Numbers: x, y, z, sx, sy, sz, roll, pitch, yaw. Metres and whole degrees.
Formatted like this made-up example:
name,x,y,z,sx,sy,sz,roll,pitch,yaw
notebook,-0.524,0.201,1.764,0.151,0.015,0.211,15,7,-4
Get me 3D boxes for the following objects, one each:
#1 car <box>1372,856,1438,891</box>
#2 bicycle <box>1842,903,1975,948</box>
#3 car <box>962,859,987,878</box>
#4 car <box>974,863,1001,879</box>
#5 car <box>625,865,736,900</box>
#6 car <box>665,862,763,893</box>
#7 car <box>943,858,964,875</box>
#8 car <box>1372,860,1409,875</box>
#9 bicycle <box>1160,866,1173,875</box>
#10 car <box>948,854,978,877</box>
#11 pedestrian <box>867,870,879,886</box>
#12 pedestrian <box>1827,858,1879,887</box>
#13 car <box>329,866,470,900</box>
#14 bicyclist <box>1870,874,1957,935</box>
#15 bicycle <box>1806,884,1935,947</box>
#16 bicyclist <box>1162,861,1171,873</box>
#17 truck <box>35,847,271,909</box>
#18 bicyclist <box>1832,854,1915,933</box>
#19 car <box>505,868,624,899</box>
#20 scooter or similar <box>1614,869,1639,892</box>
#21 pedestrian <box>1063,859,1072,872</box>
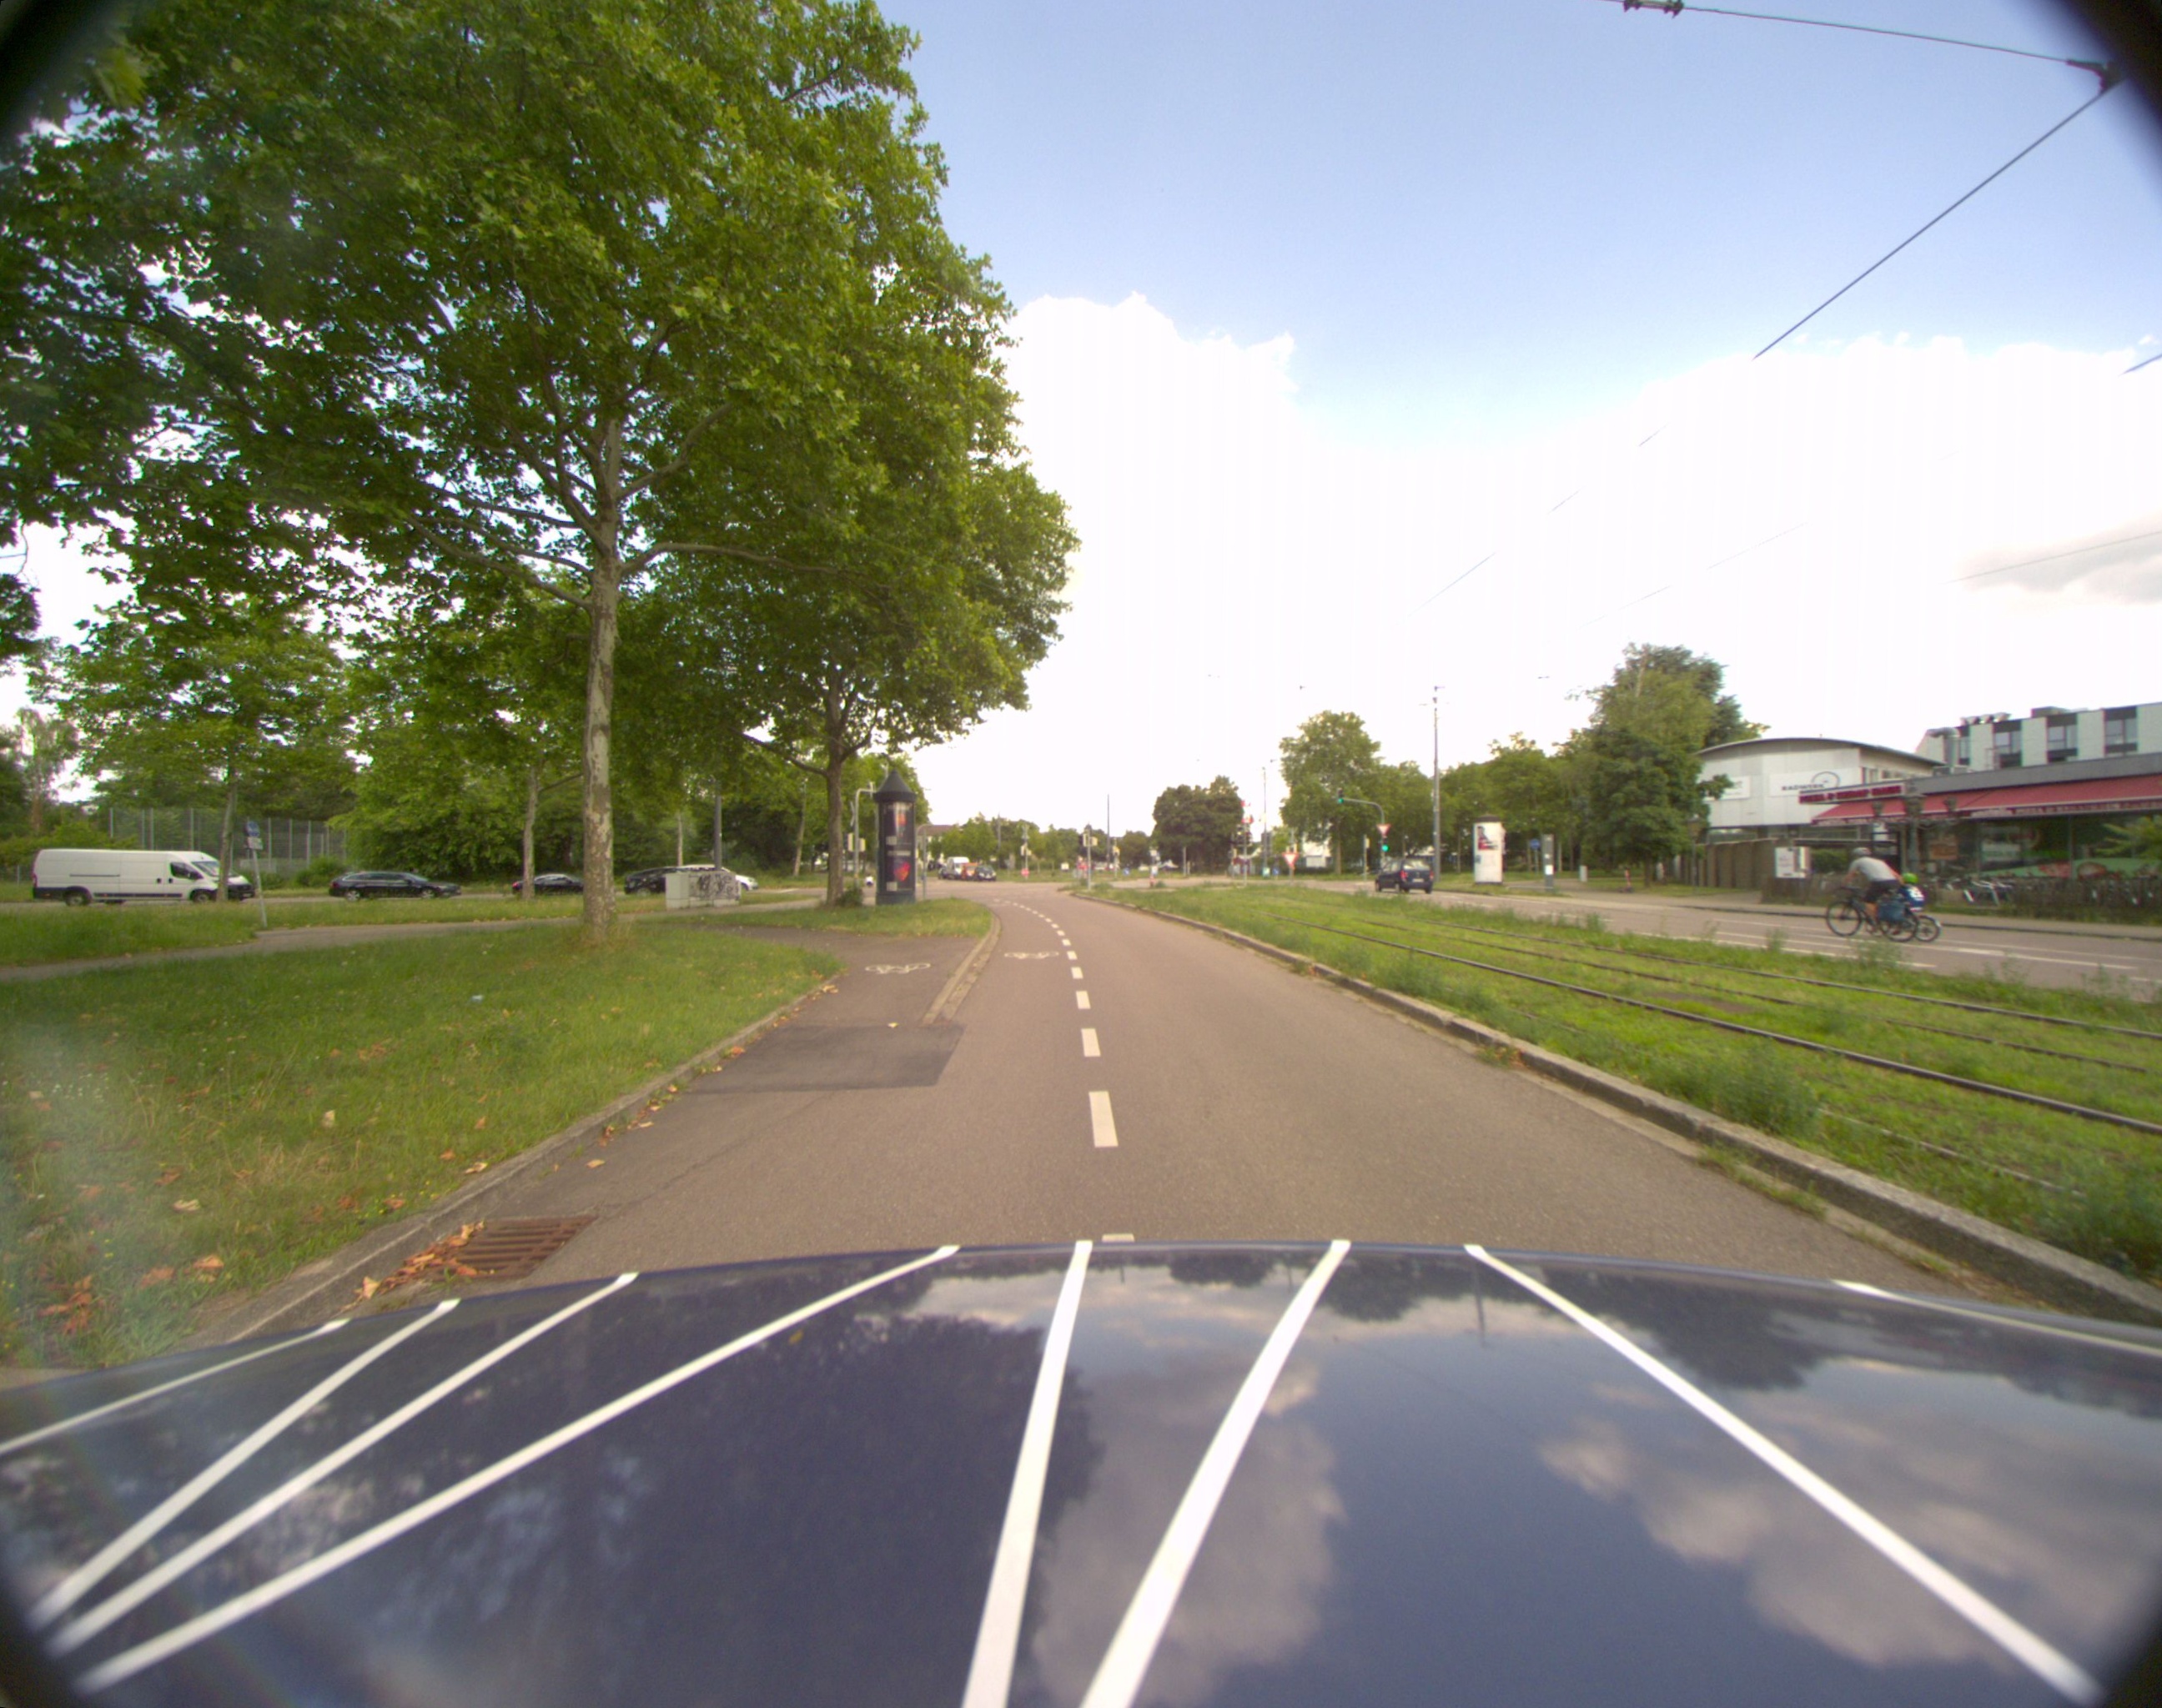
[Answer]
name,x,y,z,sx,sy,sz,roll,pitch,yaw
car,15.527,0.904,36.579,1.783,1.617,3.496,0,0,2
bicycle,15.818,1.347,14.594,0.647,0.713,1.805,0,0,2
car,-11.350,1.566,80.600,1.798,1.924,4.361,-1,0,-20
car,-9.260,1.655,74.879,1.798,1.530,3.994,-1,0,-19
car,-20.010,1.369,38.174,4.691,1.601,1.996,0,1,-20
car,-20.221,1.264,42.075,4.692,1.601,1.996,0,1,-21
car,-15.491,1.537,92.140,1.798,1.924,4.361,-1,0,-20
car,32.810,1.442,80.461,3.863,1.514,1.695,0,0,-32
bicycle,10.251,2.000,90.851,0.805,1.053,2.067,-1,-2,-17
car,-13.495,1.319,86.774,2.242,2.492,5.716,-1,0,-21
pedestrian,-13.553,1.544,49.513,0.723,1.028,0.900,0,0,-20
pedestrian,30.790,0.740,30.322,1.156,1.139,0.932,0,0,1
car,-33.101,1.370,37.066,4.692,1.504,1.996,0,1,-21
bicyclist,15.804,0.950,14.449,0.641,1.106,0.929,0,0,3
bicycle,15.088,1.145,14.589,0.647,1.073,1.805,0,0,2
bicyclist,10.199,1.536,90.969,0.805,1.461,0.831,-1,-2,-17
truck,-41.521,1.009,34.276,6.515,2.580,2.213,0,0,-20
bicyclist,15.085,0.728,14.492,0.624,1.449,0.929,0,0,2
car,-26.587,1.487,39.313,4.754,1.461,1.996,0,1,-21
scooter or similar,25.160,1.225,35.068,0.427,1.027,1.224,0,0,10
pedestrian,-1.951,1.676,110.912,0.909,1.856,1.000,-1,0,-23
